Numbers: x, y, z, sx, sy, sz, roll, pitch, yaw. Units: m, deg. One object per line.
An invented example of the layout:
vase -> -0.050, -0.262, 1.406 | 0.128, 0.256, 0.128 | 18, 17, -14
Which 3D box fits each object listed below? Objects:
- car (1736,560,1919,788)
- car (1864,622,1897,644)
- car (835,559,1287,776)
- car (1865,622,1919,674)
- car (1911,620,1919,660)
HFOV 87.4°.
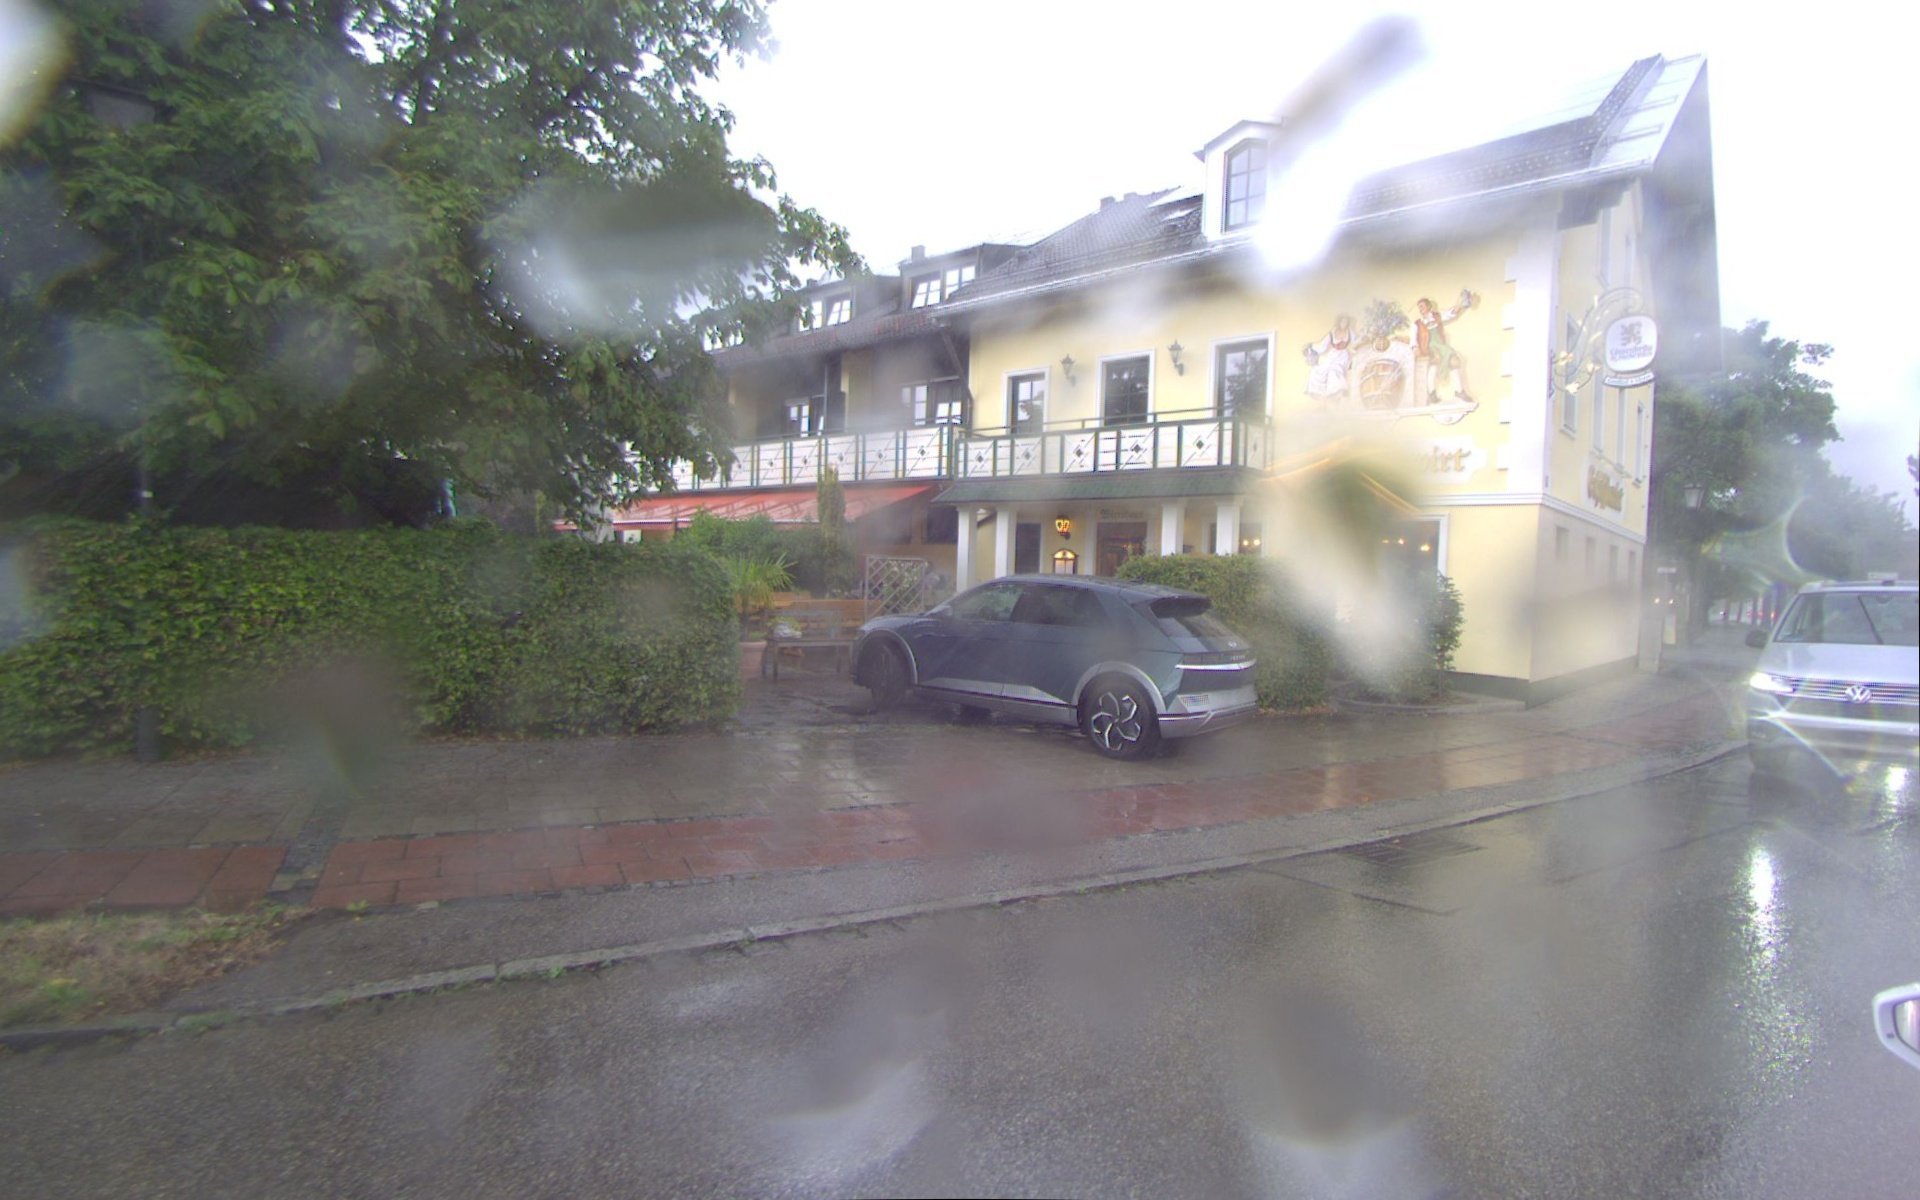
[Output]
car -> 9.983, 0.719, 10.597 | 4.662, 1.997, 1.836 | 2, -1, -39
car -> 90.484, 3.251, 98.792 | 2.143, 1.925, 4.989 | 3, 2, 40
car -> 0.896, 0.492, 10.572 | 4.421, 1.589, 1.830 | 6, 5, 39
car -> 27.981, 1.361, 29.528 | 1.840, 1.377, 4.462 | 0, 0, 40
car -> 49.366, 2.036, 50.326 | 2.143, 1.925, 4.989 | 3, 2, 40
